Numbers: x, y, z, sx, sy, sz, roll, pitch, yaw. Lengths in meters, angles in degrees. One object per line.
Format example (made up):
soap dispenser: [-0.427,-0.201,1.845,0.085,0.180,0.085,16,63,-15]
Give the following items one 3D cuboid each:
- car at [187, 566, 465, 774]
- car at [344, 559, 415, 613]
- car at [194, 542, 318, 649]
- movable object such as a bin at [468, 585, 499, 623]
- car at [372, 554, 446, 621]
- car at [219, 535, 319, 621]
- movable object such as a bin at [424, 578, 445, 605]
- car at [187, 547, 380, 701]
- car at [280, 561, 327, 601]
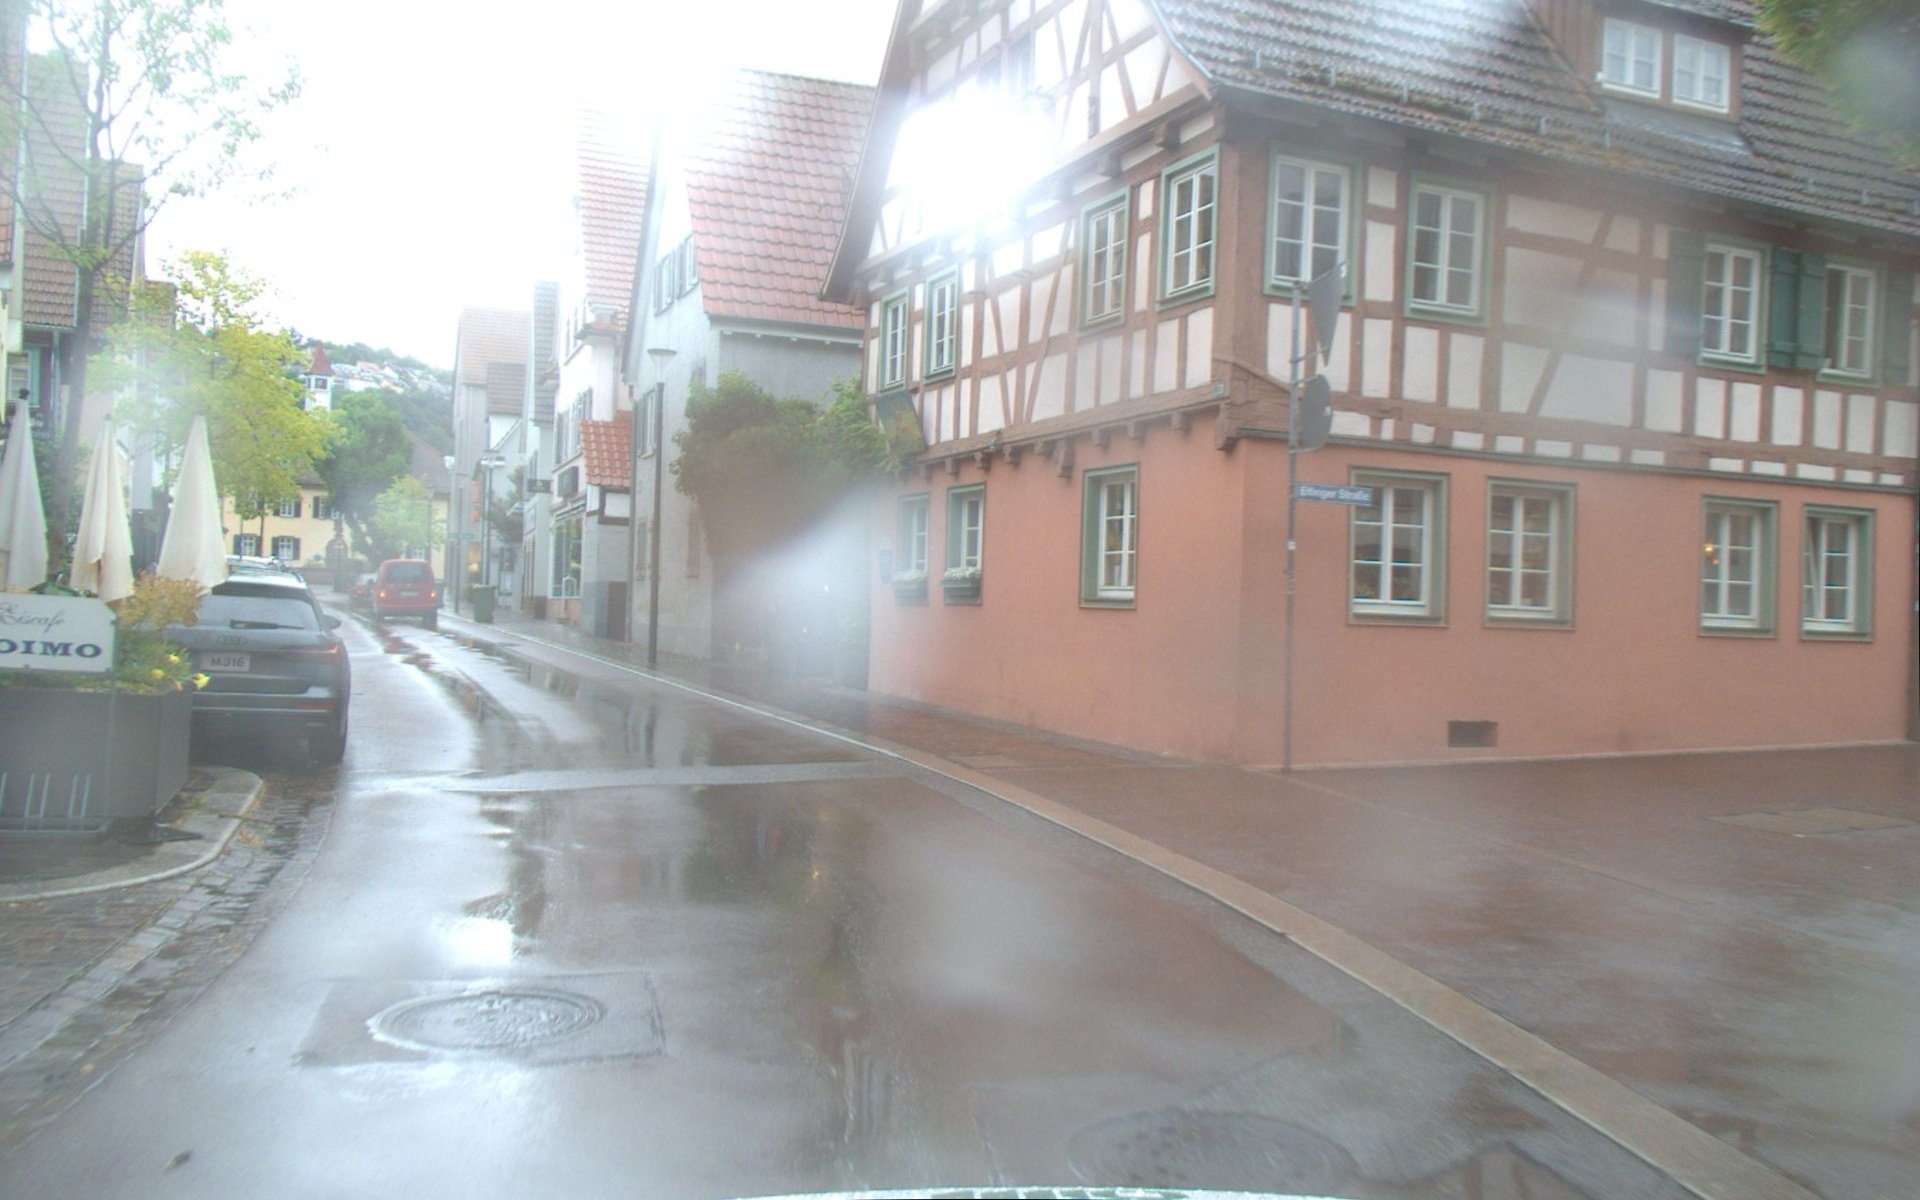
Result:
car: [-5.443,0.485,14.183,1.836,1.467,4.589,2,0,-22]
car: [-21.494,-0.492,61.159,1.969,1.831,3.967,3,-2,-26]
car: [-12.570,-0.032,29.758,1.798,1.695,4.612,3,-2,-21]
movable object such as a bin: [-14.313,0.124,49.645,0.782,1.099,0.610,2,-1,-25]
car: [-16.814,-0.405,50.387,1.867,1.843,3.976,4,0,-21]
car: [-15.147,-0.420,36.423,1.798,1.695,4.613,3,-2,-21]
movable object such as a bin: [-22.171,-0.356,69.821,0.757,1.098,0.595,3,-2,-21]
car: [-7.980,0.247,19.831,1.834,1.551,4.303,4,-1,-20]
car: [-26.719,-0.803,67.365,1.667,1.468,3.860,3,0,-21]
